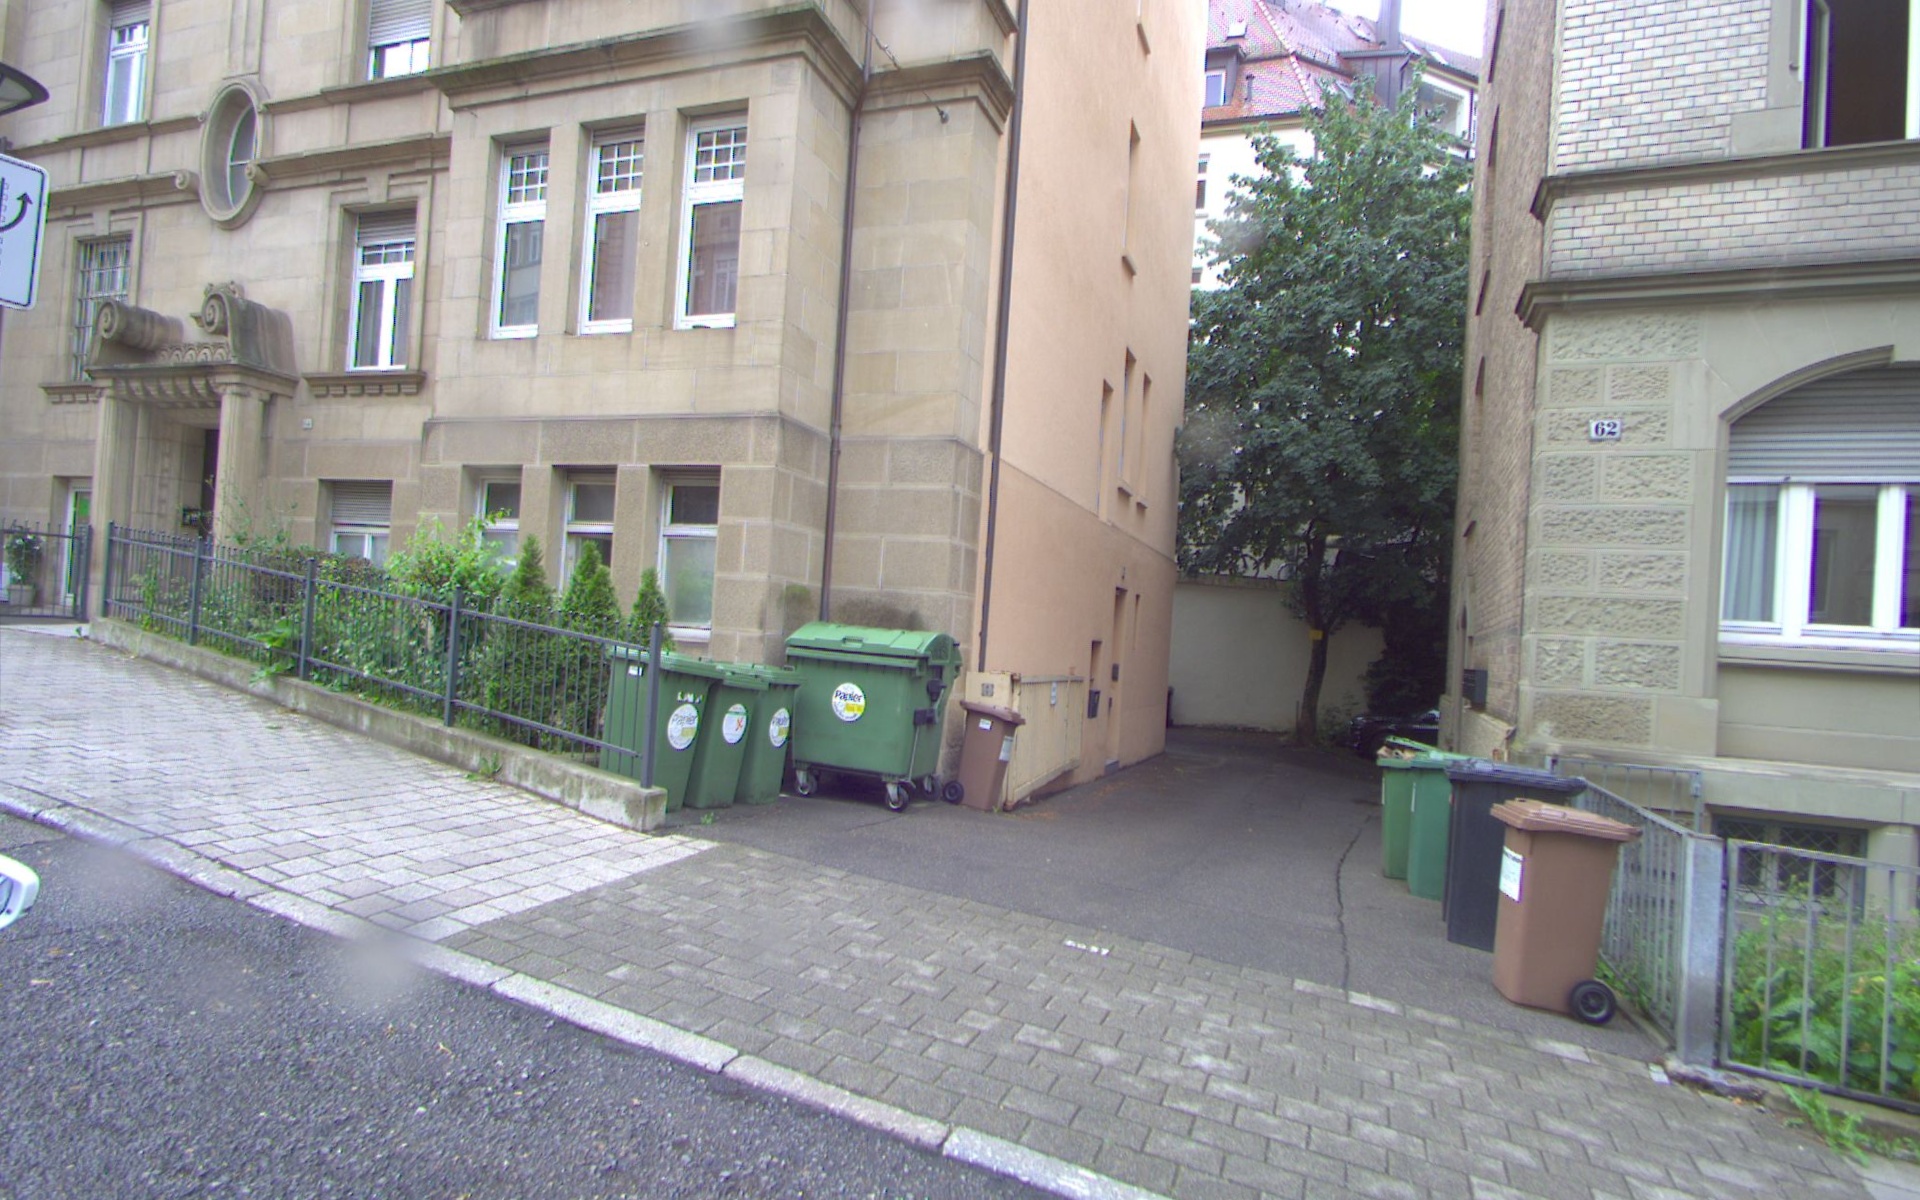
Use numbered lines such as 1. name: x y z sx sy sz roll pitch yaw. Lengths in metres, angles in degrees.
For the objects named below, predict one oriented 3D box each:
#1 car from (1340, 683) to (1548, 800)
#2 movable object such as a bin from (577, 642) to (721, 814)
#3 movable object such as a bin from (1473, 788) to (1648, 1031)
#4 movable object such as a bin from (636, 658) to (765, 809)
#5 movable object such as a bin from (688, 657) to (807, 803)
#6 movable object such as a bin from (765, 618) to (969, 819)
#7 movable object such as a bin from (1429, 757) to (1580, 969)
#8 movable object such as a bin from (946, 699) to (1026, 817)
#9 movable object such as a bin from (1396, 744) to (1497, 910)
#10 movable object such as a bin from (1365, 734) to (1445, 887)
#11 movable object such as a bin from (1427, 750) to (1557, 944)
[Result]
1. car: 10.985 3.140 22.975 3.930 1.530 1.796 13 5 28
2. movable object such as a bin: -2.077 0.852 6.759 0.593 1.036 0.540 6 -4 20
3. movable object such as a bin: 2.804 1.425 4.743 0.527 0.932 0.427 7 2 20
4. movable object such as a bin: -1.872 0.959 7.300 0.593 0.978 0.540 6 -4 20
5. movable object such as a bin: -1.661 1.014 7.909 0.593 1.036 0.540 6 -4 20
6. movable object such as a bin: -0.754 0.979 8.481 1.256 1.446 0.976 6 -4 20
7. movable object such as a bin: 3.154 1.485 5.845 0.653 1.041 0.529 6 -4 30
8. movable object such as a bin: 0.233 1.399 8.976 0.510 0.952 0.395 6 -4 20
9. movable object such as a bin: 3.565 1.640 7.402 0.545 1.072 0.498 6 -3 24
10. movable object such as a bin: 3.590 1.678 8.136 0.469 1.113 0.521 6 -3 23
11. movable object such as a bin: 3.377 1.543 6.430 0.598 1.072 0.501 6 -3 24
